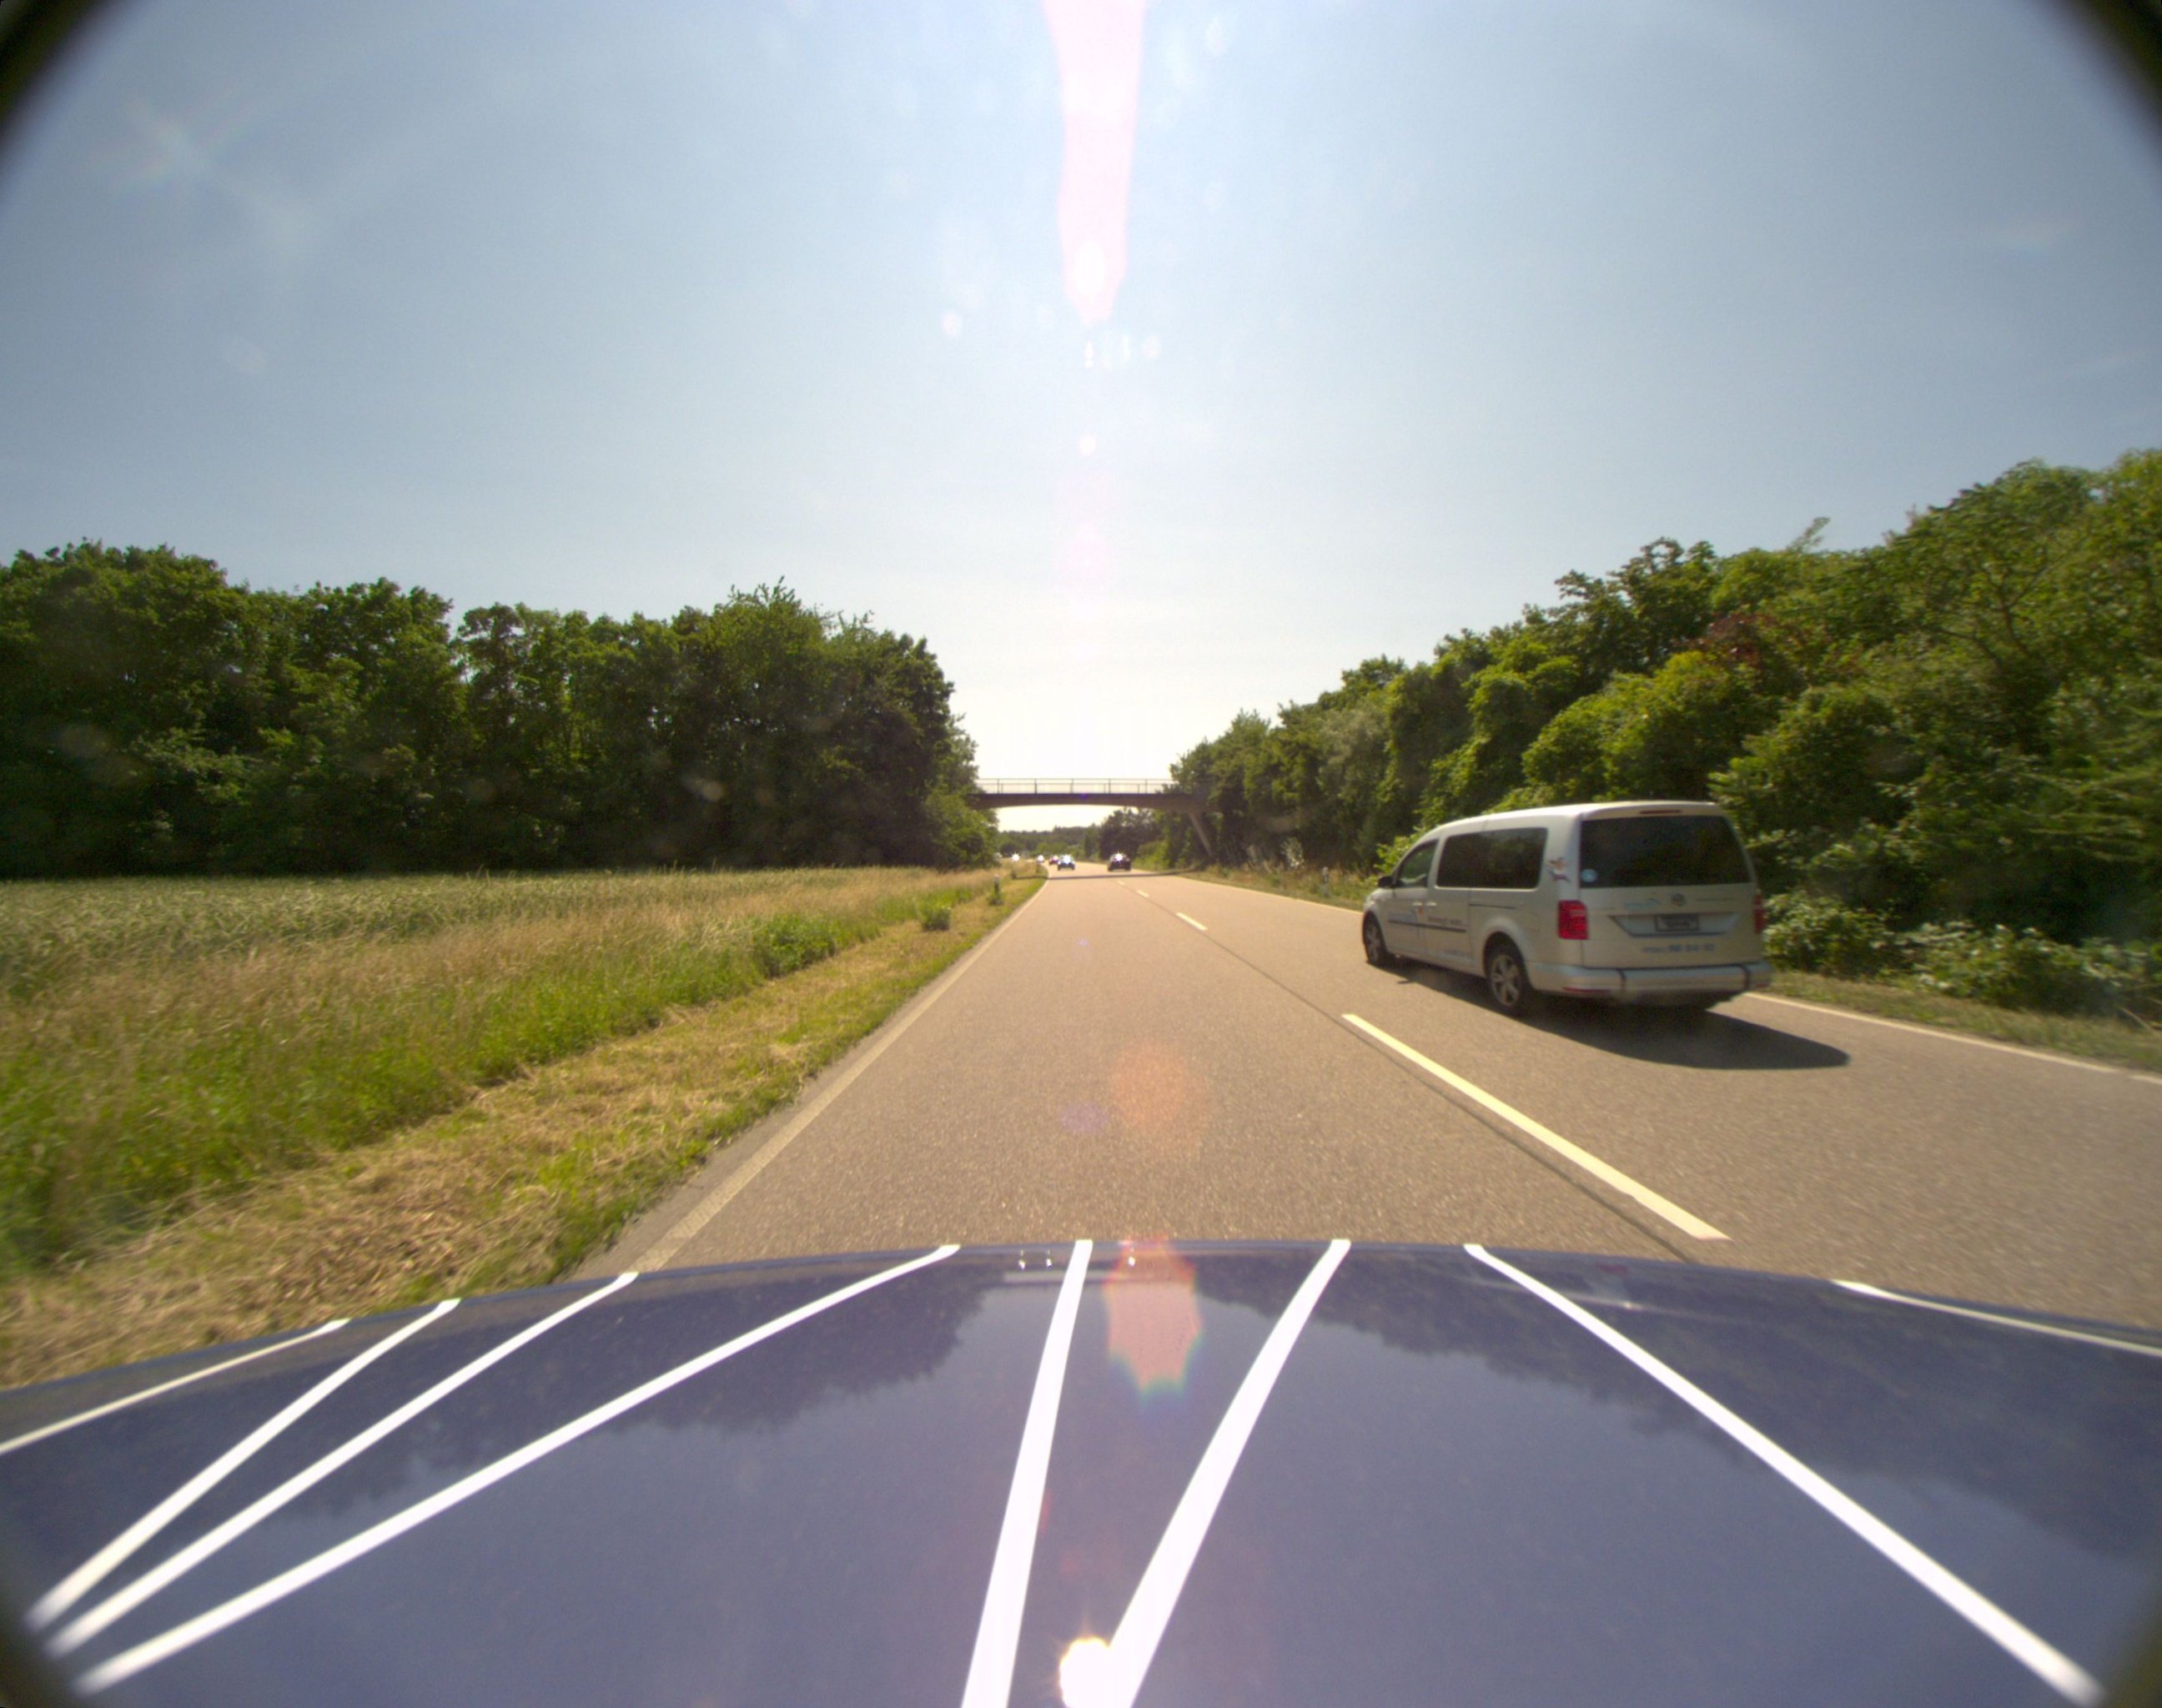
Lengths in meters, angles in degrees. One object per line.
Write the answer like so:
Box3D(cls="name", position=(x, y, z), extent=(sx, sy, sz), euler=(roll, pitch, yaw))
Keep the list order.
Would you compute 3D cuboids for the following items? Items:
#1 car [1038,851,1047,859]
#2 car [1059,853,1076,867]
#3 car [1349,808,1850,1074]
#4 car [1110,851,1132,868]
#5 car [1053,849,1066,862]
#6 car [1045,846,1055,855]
Box3D(cls="car", position=(-8.322, 0.209, 166.456), extent=(1.553, 1.659, 4.000), euler=(-2, 1, 2))
Box3D(cls="car", position=(-1.430, 0.625, 79.402), extent=(1.693, 1.431, 3.709), euler=(-2, 0, -1))
Box3D(cls="car", position=(4.447, 0.591, 7.663), extent=(1.767, 1.808, 4.803), euler=(-1, 0, 0))
Box3D(cls="car", position=(3.471, 0.486, 67.029), extent=(1.711, 1.420, 3.999), euler=(-2, 0, 0))
Box3D(cls="car", position=(-3.360, 0.260, 118.471), extent=(1.999, 2.002, 3.999), euler=(-2, 0, -1))
Box3D(cls="car", position=(-9.837, -1.079, 241.472), extent=(3.034, 2.987, 7.841), euler=(0, 0, -1))
